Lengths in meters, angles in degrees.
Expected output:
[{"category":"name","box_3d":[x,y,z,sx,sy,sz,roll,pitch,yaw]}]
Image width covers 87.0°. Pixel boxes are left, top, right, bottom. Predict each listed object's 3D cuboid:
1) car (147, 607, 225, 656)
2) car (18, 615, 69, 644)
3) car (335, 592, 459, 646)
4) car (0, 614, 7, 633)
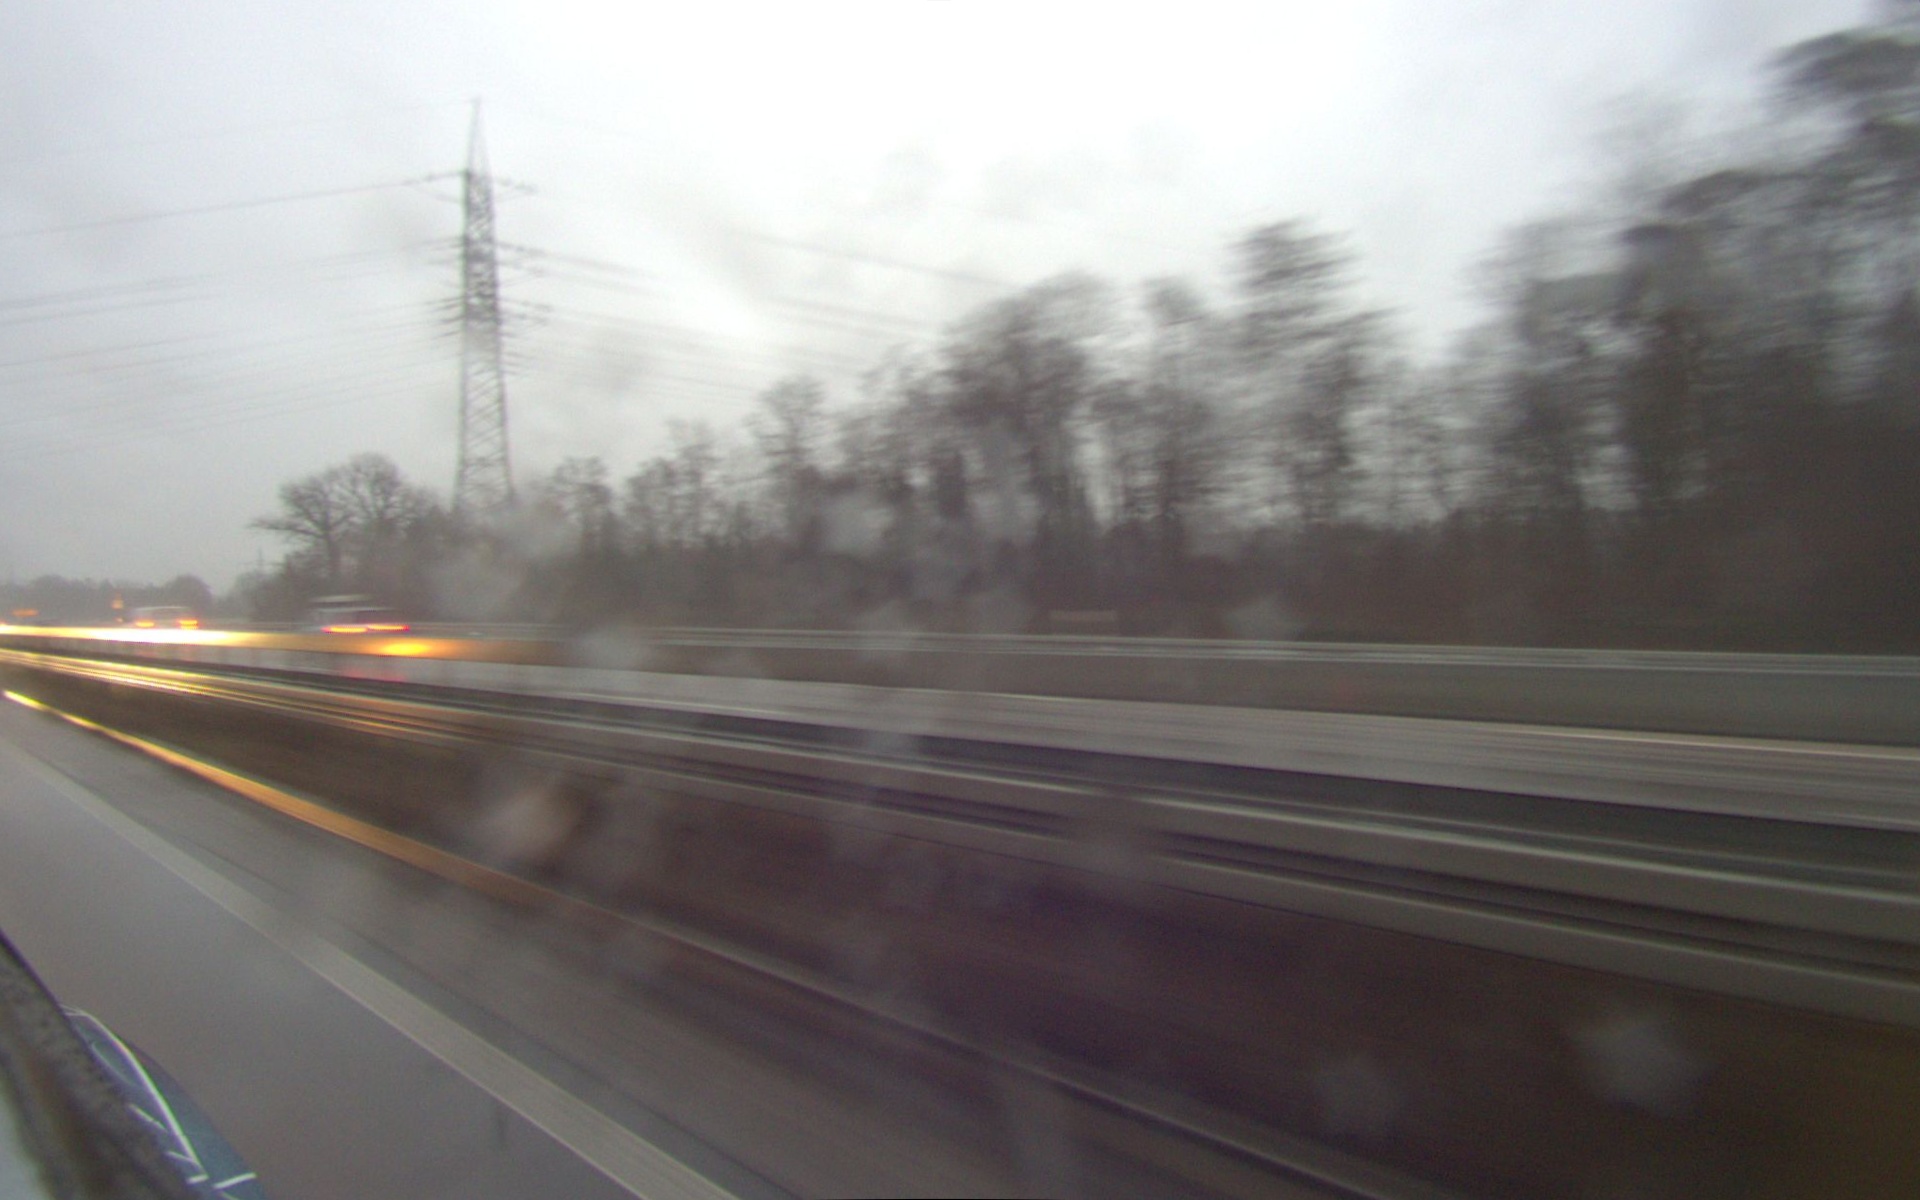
[{"category":"car","box_3d":[-34.103,1.364,44.562,3.998,2.024,1.973,-1,0,41]},{"category":"car","box_3d":[-60.231,1.919,66.475,3.998,1.781,1.973,0,1,41]},{"category":"car","box_3d":[-16.400,0.550,29.394,4.407,1.418,1.738,-1,0,41]},{"category":"car","box_3d":[-84.404,2.093,88.007,4.000,1.593,1.972,0,1,43]}]
